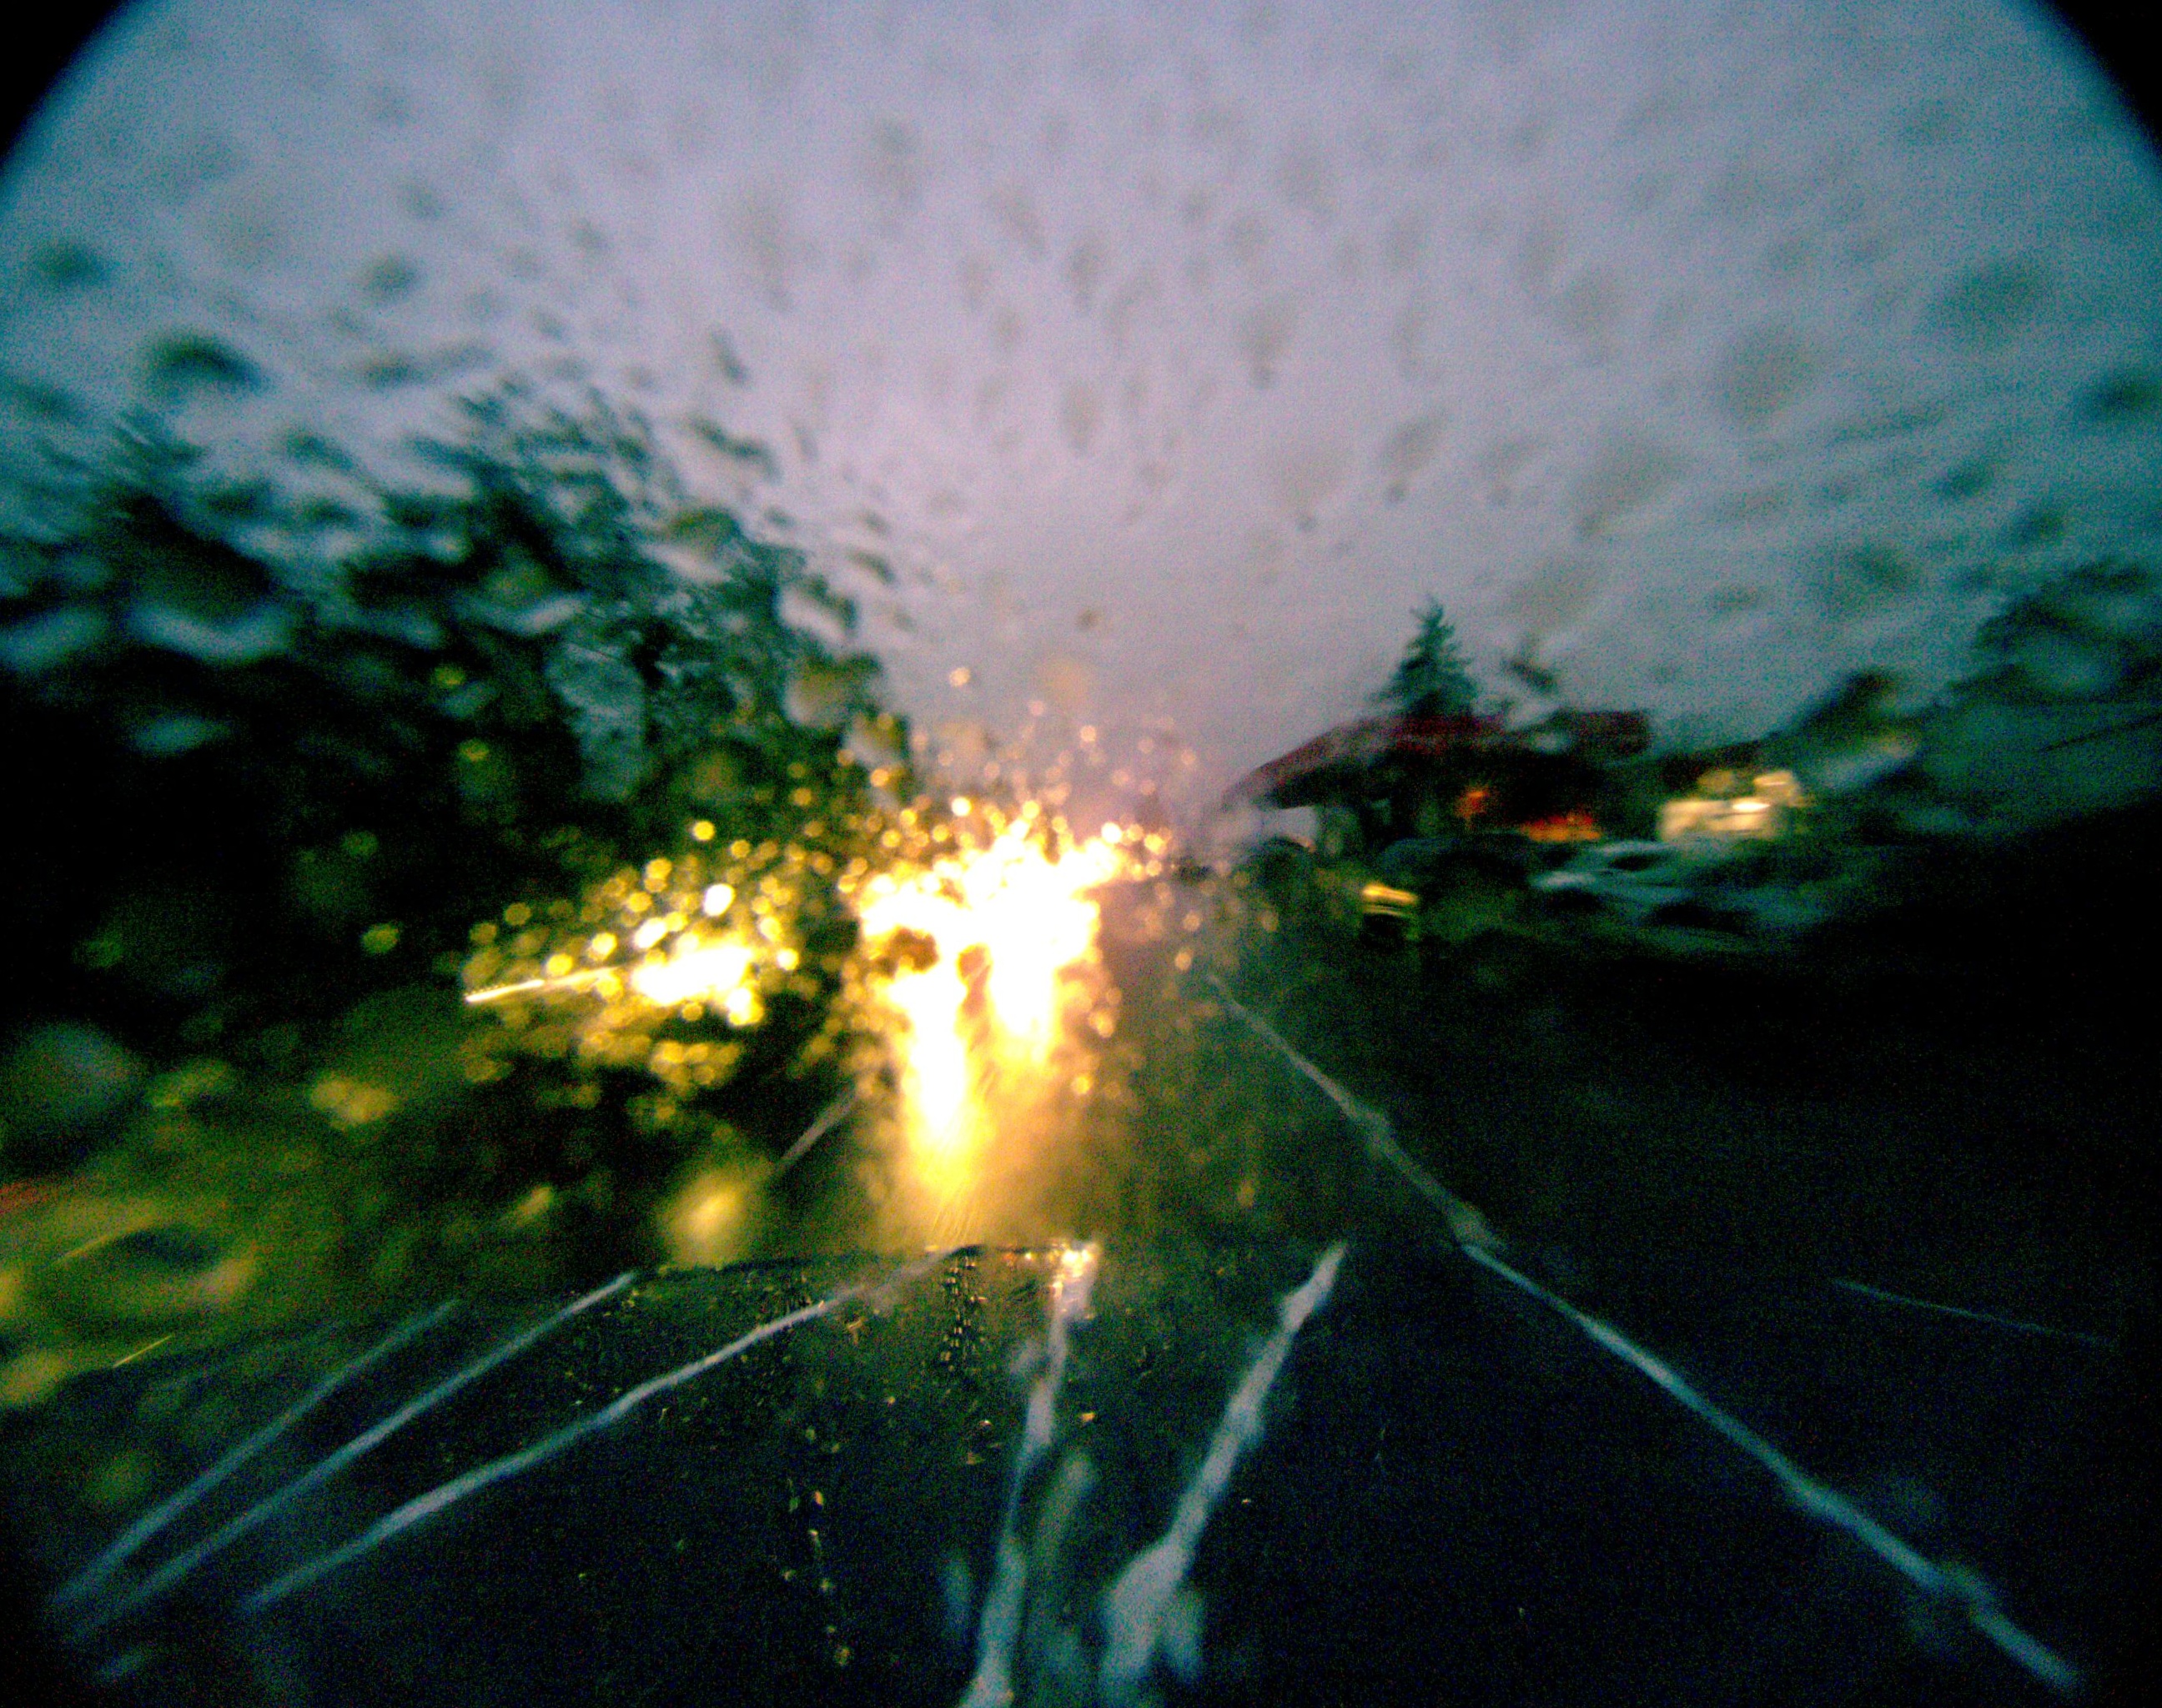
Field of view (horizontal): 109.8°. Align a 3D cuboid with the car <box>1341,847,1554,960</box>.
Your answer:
[{"bbox_3d":[6.711,0.807,14.574,1.975,1.820,4.513,0,0,1],"label":"car"}]

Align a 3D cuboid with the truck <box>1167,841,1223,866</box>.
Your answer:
[{"bbox_3d":[14.757,-0.057,98.505,6.876,3.123,2.334,-1,0,-1],"label":"truck"}]

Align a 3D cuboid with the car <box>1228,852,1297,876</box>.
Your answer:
[{"bbox_3d":[11.445,0.636,48.080,3.868,1.397,1.840,-2,0,0],"label":"car"}]

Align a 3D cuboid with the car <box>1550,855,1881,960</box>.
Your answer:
[{"bbox_3d":[10.186,0.822,12.433,3.903,1.420,1.719,-2,0,2],"label":"car"}]

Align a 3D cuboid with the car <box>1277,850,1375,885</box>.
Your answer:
[{"bbox_3d":[11.085,0.599,34.586,3.868,1.433,1.840,-2,0,0],"label":"car"}]

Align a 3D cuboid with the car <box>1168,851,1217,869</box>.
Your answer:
[{"bbox_3d":[11.192,0.632,76.581,4.547,1.666,2.010,-2,0,-3],"label":"car"}]

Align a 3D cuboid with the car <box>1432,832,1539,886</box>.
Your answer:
[{"bbox_3d":[14.994,0.170,28.450,1.891,1.858,4.000,-1,0,0],"label":"car"}]

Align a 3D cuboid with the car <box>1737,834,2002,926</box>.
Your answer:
[{"bbox_3d":[17.883,0.525,17.566,1.998,1.858,4.000,-1,0,0],"label":"car"}]

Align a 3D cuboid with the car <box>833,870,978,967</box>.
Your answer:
[{"bbox_3d":[-3.242,1.130,14.910,1.706,1.463,4.272,-3,0,1],"label":"car"}]

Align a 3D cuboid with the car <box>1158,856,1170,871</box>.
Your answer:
[{"bbox_3d":[9.341,1.016,85.575,1.174,1.634,2.872,-1,0,9],"label":"car"}]

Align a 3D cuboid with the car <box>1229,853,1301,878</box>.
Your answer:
[{"bbox_3d":[10.936,0.698,45.304,3.868,1.338,1.840,-2,0,0],"label":"car"}]

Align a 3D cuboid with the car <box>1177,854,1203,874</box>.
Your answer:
[{"bbox_3d":[8.449,0.755,59.125,1.686,1.412,3.741,-1,0,3],"label":"car"}]

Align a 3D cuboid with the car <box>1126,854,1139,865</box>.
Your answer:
[{"bbox_3d":[7.264,0.739,107.154,1.655,1.411,3.744,-1,-2,2],"label":"car"}]

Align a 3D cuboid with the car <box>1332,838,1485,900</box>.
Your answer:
[{"bbox_3d":[11.096,0.491,26.014,4.287,1.753,2.000,-4,0,1],"label":"car"}]

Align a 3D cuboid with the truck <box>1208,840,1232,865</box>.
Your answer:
[{"bbox_3d":[20.163,-0.210,110.628,2.036,3.434,5.851,1,0,-3],"label":"truck"}]

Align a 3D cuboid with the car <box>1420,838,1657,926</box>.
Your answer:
[{"bbox_3d":[10.615,0.633,17.889,4.287,1.653,2.000,-4,0,1],"label":"car"}]

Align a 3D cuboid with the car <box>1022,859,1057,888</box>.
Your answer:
[{"bbox_3d":[-2.405,1.131,45.080,1.712,1.566,4.464,-1,0,1],"label":"car"}]

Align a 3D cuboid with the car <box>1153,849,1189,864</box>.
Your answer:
[{"bbox_3d":[13.279,0.386,112.067,5.158,2.137,2.059,0,0,1],"label":"car"}]

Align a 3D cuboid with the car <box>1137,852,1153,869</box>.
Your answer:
[{"bbox_3d":[8.035,0.768,95.347,1.839,2.001,4.485,-2,0,3],"label":"car"}]

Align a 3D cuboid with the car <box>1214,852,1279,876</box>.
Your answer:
[{"bbox_3d":[11.047,0.656,50.790,3.868,1.401,1.944,-3,0,0],"label":"car"}]

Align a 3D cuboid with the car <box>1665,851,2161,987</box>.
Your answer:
[{"bbox_3d":[10.608,0.764,9.882,4.569,1.574,1.919,0,0,0],"label":"car"}]

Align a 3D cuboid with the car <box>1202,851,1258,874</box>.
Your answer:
[{"bbox_3d":[11.584,0.648,59.321,4.056,1.640,1.942,-1,0,3],"label":"car"}]

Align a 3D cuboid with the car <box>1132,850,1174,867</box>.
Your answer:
[{"bbox_3d":[11.063,0.686,116.915,6.171,2.616,2.176,0,0,1],"label":"car"}]

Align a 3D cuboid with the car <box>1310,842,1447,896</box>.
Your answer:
[{"bbox_3d":[11.076,0.542,28.566,4.287,1.653,2.000,-4,0,1],"label":"car"}]

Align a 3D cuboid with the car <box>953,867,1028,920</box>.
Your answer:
[{"bbox_3d":[-2.634,1.120,23.040,1.657,1.328,4.272,-2,0,1],"label":"car"}]

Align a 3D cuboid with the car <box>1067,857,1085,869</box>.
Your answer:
[{"bbox_3d":[-0.686,1.145,101.197,2.016,1.484,3.999,-2,0,-4],"label":"car"}]

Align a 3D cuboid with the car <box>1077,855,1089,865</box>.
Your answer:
[{"bbox_3d":[0.361,0.975,125.520,1.890,1.618,4.000,-2,0,-1],"label":"car"}]

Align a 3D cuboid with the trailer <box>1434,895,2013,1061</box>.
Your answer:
[{"bbox_3d":[6.662,1.182,9.260,1.998,1.033,6.104,0,0,1],"label":"trailer"}]

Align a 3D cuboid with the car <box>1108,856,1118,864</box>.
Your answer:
[{"bbox_3d":[5.947,1.069,142.316,1.607,1.525,4.000,0,0,0],"label":"car"}]

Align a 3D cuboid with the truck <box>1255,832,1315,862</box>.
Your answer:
[{"bbox_3d":[32.503,-1.095,121.173,8.714,4.236,3.004,-3,1,-10],"label":"truck"}]

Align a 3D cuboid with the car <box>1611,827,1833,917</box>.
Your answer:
[{"bbox_3d":[15.181,0.384,18.335,1.998,1.893,4.000,-1,0,0],"label":"car"}]

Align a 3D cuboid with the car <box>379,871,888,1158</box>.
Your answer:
[{"bbox_3d":[-3.305,1.038,6.897,1.841,1.559,4.503,-3,0,1],"label":"car"}]

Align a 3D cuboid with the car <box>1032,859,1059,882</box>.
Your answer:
[{"bbox_3d":[-2.513,1.153,54.237,1.569,1.520,4.007,-2,0,1],"label":"car"}]

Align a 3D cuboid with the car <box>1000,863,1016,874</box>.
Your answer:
[{"bbox_3d":[-9.176,1.808,95.840,1.576,1.388,4.169,-1,0,1],"label":"car"}]

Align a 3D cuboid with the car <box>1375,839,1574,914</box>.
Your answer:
[{"bbox_3d":[10.704,0.593,20.946,4.287,1.653,2.137,-4,0,1],"label":"car"}]

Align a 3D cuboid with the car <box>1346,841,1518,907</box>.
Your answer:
[{"bbox_3d":[10.716,0.589,23.467,4.287,1.653,2.000,-4,0,1],"label":"car"}]

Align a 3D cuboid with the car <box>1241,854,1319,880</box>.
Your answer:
[{"bbox_3d":[11.147,0.705,42.648,3.868,1.338,1.840,-2,0,0],"label":"car"}]

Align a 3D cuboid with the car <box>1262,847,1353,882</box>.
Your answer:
[{"bbox_3d":[11.040,0.519,37.149,3.868,1.550,1.840,-2,0,0],"label":"car"}]

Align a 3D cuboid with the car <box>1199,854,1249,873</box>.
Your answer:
[{"bbox_3d":[12.073,0.813,64.127,3.782,1.451,1.776,-3,0,-2],"label":"car"}]

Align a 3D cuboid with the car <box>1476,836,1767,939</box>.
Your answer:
[{"bbox_3d":[10.599,0.633,15.174,4.287,1.618,2.000,-4,0,1],"label":"car"}]

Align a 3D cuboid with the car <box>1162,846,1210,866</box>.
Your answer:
[{"bbox_3d":[14.093,0.269,102.316,6.047,2.623,2.196,-1,0,-1],"label":"car"}]

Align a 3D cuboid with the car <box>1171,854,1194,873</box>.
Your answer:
[{"bbox_3d":[8.434,0.809,63.181,1.521,1.534,3.015,0,0,1],"label":"car"}]

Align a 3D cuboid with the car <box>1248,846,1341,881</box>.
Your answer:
[{"bbox_3d":[11.109,0.505,39.726,4.291,1.647,1.980,-2,0,0],"label":"car"}]

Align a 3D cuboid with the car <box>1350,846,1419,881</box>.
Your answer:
[{"bbox_3d":[15.442,0.453,38.919,1.893,1.647,4.148,-2,0,1],"label":"car"}]

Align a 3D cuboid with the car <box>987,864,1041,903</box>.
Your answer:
[{"bbox_3d":[-2.693,1.166,31.533,1.645,1.358,4.769,-2,0,1],"label":"car"}]

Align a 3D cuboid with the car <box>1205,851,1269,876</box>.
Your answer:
[{"bbox_3d":[10.860,0.682,53.202,4.041,1.545,1.824,-3,-1,0],"label":"car"}]

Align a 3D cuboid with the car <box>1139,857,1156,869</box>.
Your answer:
[{"bbox_3d":[7.785,1.028,89.574,1.574,1.314,4.255,0,2,-1],"label":"car"}]

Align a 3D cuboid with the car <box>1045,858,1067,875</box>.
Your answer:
[{"bbox_3d":[-2.434,1.158,72.908,2.016,1.484,3.999,-2,0,-4],"label":"car"}]

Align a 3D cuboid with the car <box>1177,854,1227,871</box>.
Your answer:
[{"bbox_3d":[11.340,0.777,71.402,4.346,1.489,1.826,-2,0,1],"label":"car"}]
